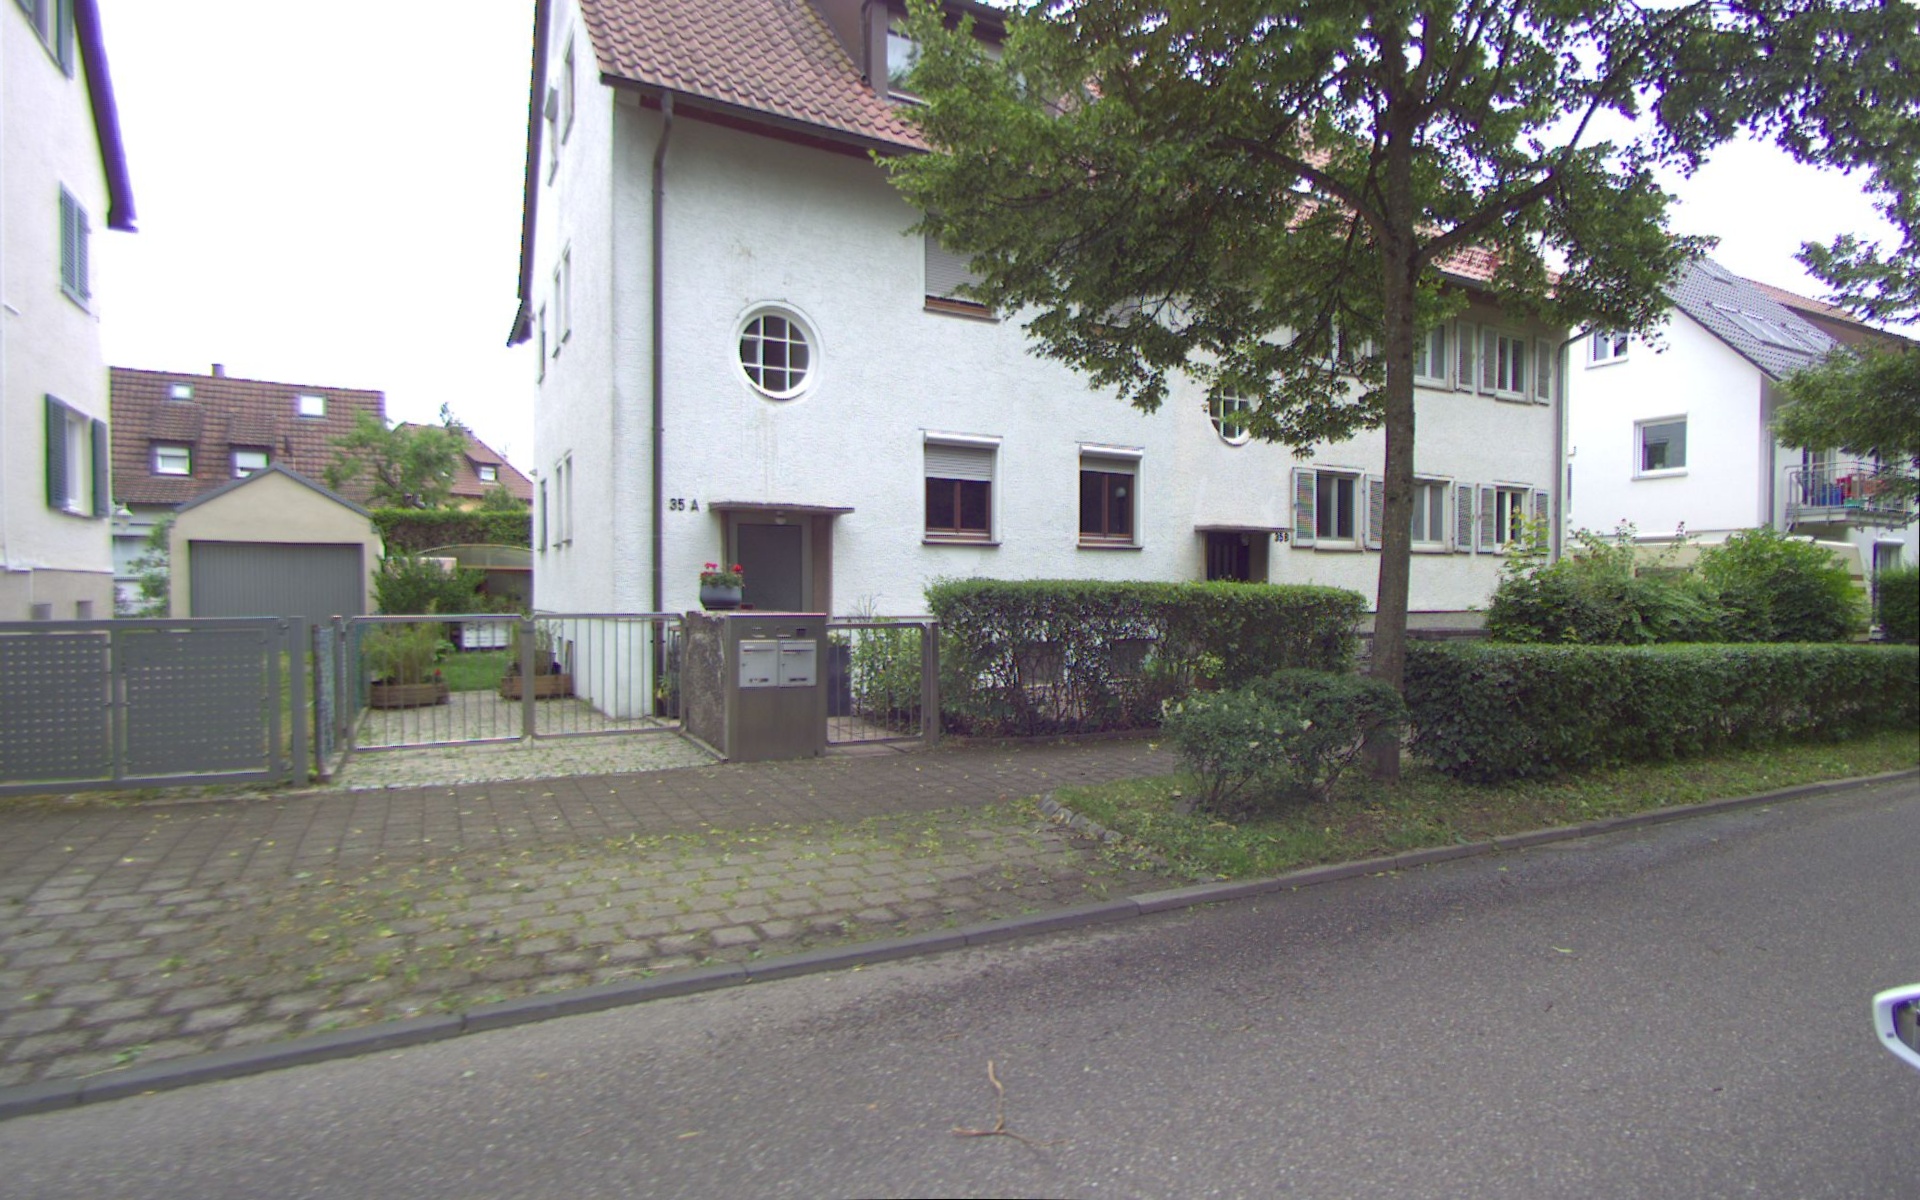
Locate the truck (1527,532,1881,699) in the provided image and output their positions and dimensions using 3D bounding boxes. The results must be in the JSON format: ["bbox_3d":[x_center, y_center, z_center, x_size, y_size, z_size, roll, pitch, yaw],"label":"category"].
[{"bbox_3d":[16.122,0.303,22.222,2.488,3.173,5.769,1,0,-30],"label":"truck"}]

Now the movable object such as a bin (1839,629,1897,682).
[{"bbox_3d":[16.559,1.008,18.313,0.684,0.938,0.578,1,-1,-27],"label":"movable object such as a bin"}]
